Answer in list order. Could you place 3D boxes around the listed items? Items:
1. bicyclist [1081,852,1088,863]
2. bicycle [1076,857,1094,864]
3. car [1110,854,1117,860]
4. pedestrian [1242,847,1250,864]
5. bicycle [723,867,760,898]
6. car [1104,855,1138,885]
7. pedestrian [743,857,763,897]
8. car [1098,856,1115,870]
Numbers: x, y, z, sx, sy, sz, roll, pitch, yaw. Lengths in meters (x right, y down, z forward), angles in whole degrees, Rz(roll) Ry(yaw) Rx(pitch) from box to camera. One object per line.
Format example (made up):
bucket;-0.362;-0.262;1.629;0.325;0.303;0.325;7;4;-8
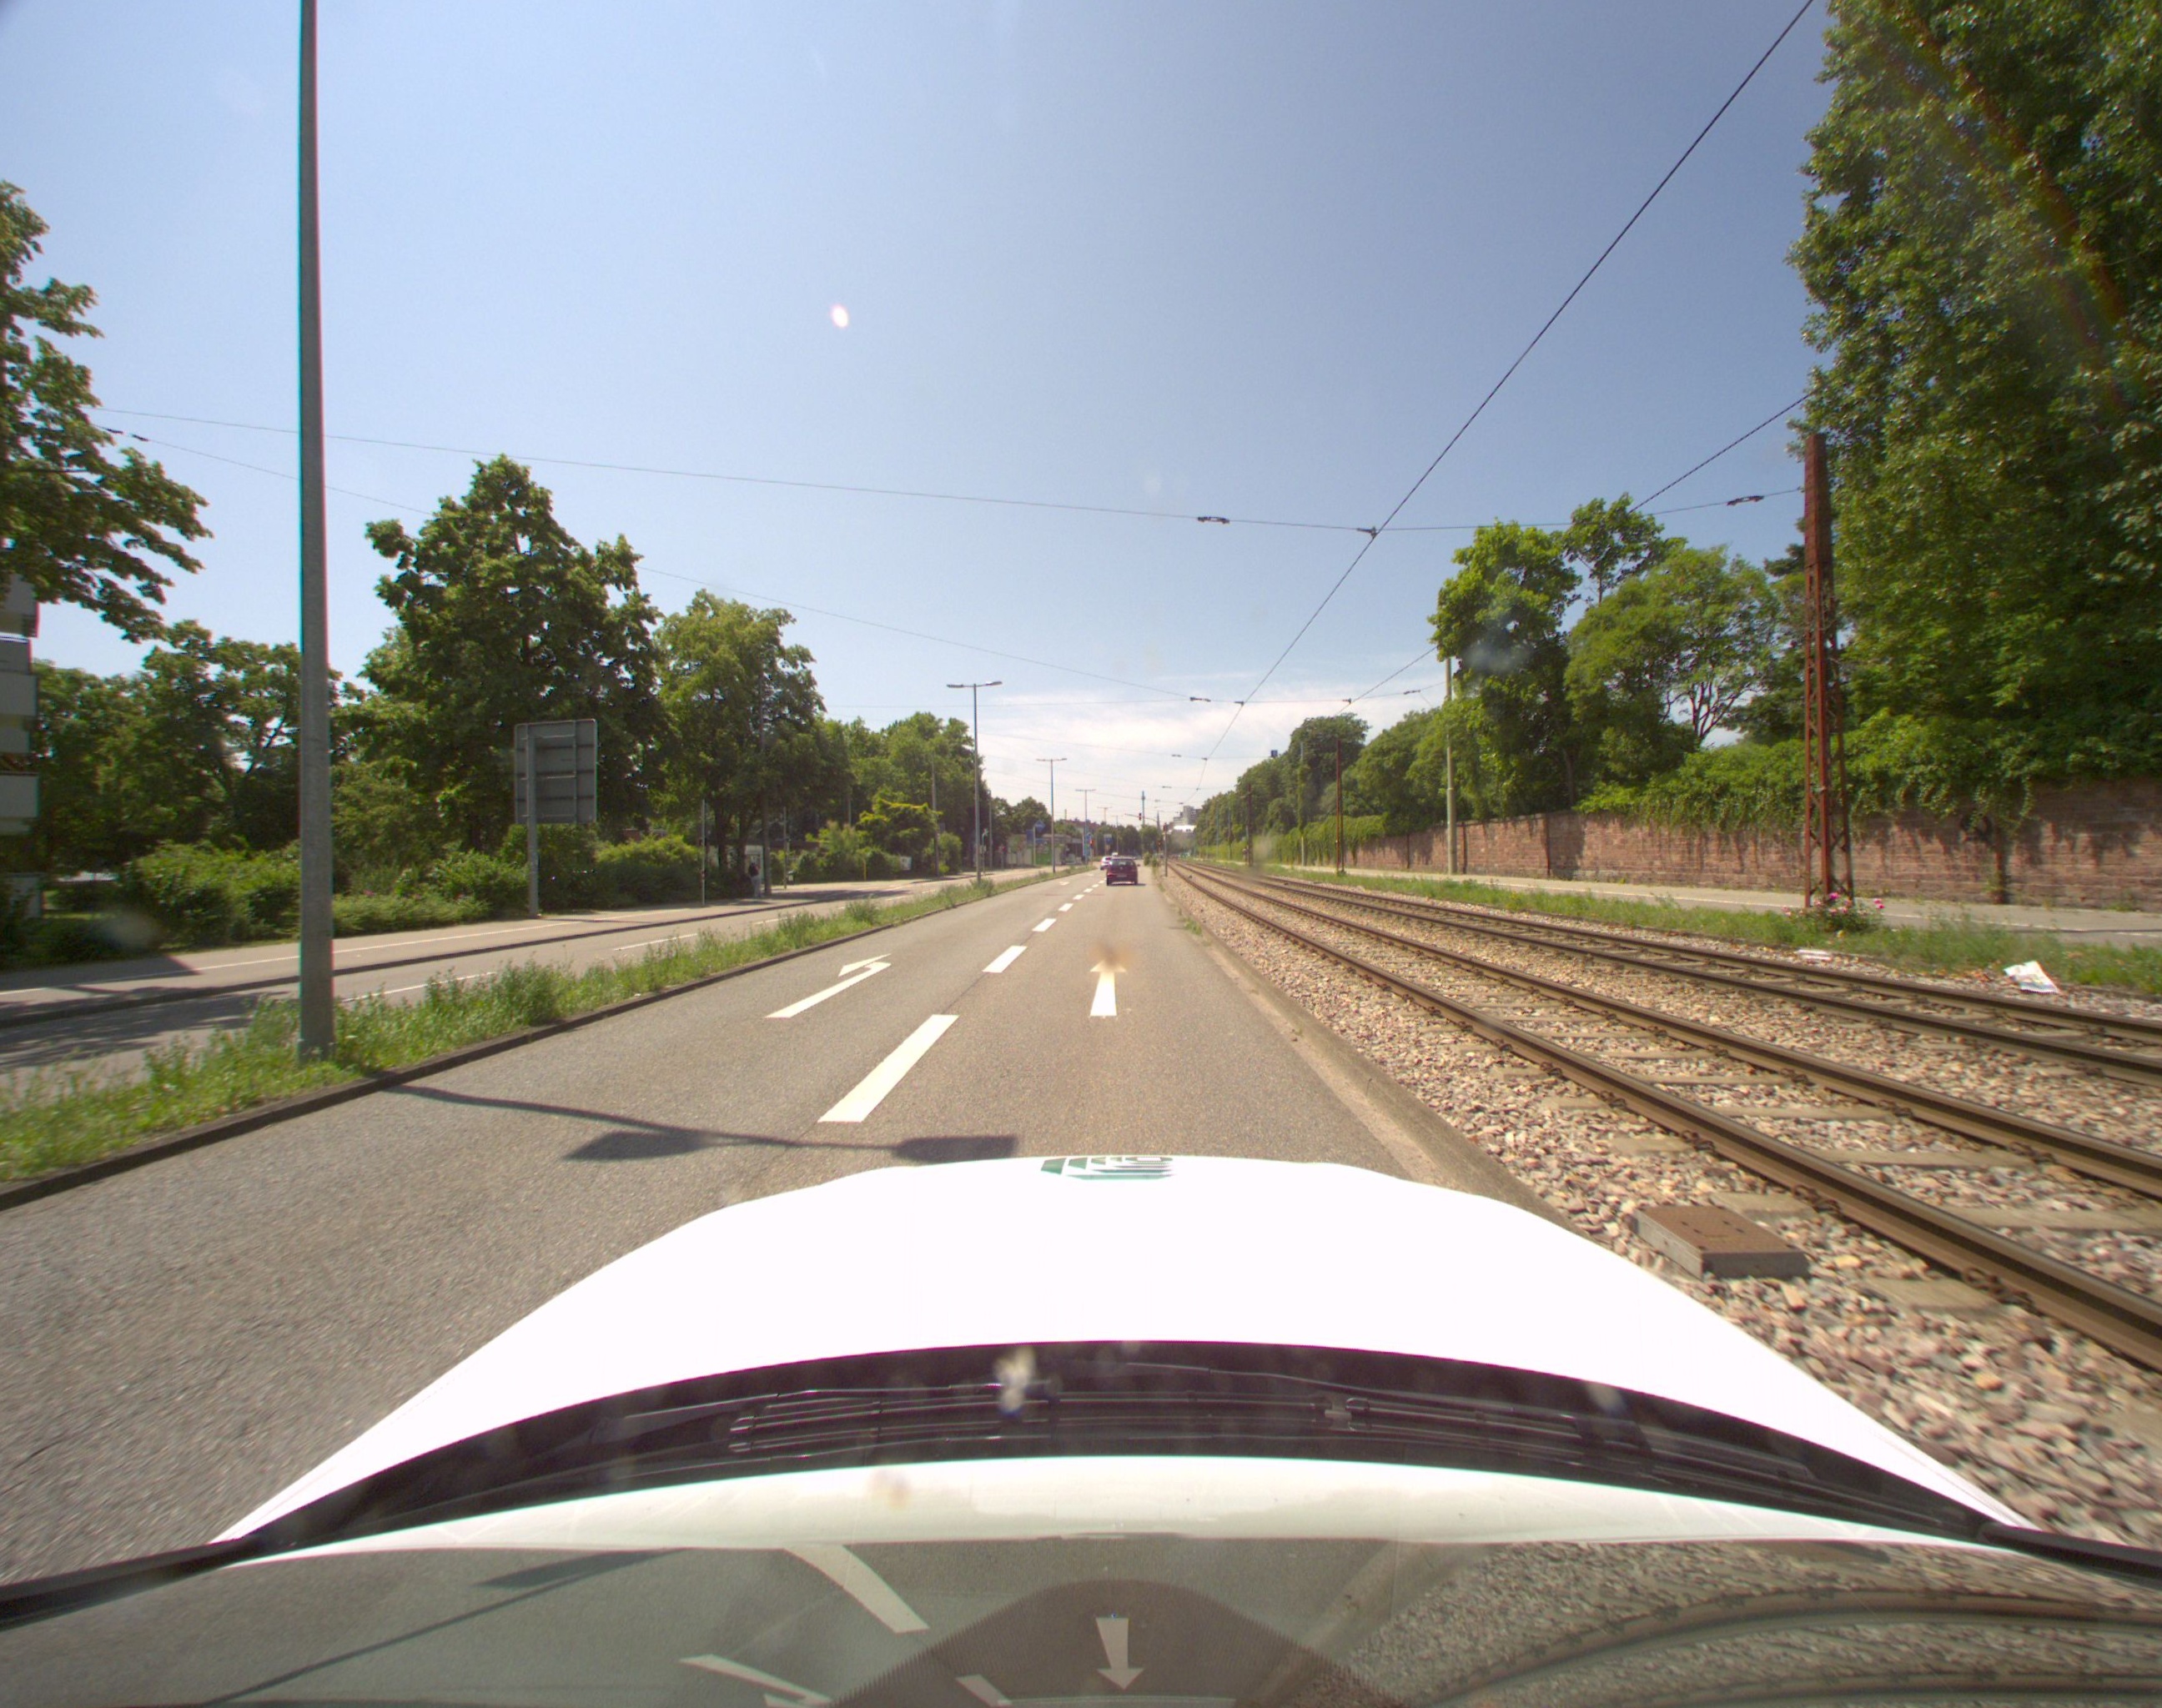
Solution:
bicyclist;0.543;0.547;124.197;0.944;1.593;1.083;0;-1;-11
bicycle;0.596;1.017;124.168;2.551;1.038;1.083;0;-1;-12
car;9.878;0.927;245.358;1.987;1.596;3.999;0;-1;0
pedestrian;16.855;0.160;83.035;0.658;1.726;0.817;-2;0;4
bicycle;-15.134;1.247;36.322;0.641;1.328;1.580;-2;0;17
car;2.126;0.828;43.043;1.695;1.477;3.719;-1;0;3
pedestrian;-14.539;1.012;36.113;0.545;1.718;0.606;-2;0;17
car;2.743;0.943;86.865;1.697;1.481;3.715;0;-1;0
